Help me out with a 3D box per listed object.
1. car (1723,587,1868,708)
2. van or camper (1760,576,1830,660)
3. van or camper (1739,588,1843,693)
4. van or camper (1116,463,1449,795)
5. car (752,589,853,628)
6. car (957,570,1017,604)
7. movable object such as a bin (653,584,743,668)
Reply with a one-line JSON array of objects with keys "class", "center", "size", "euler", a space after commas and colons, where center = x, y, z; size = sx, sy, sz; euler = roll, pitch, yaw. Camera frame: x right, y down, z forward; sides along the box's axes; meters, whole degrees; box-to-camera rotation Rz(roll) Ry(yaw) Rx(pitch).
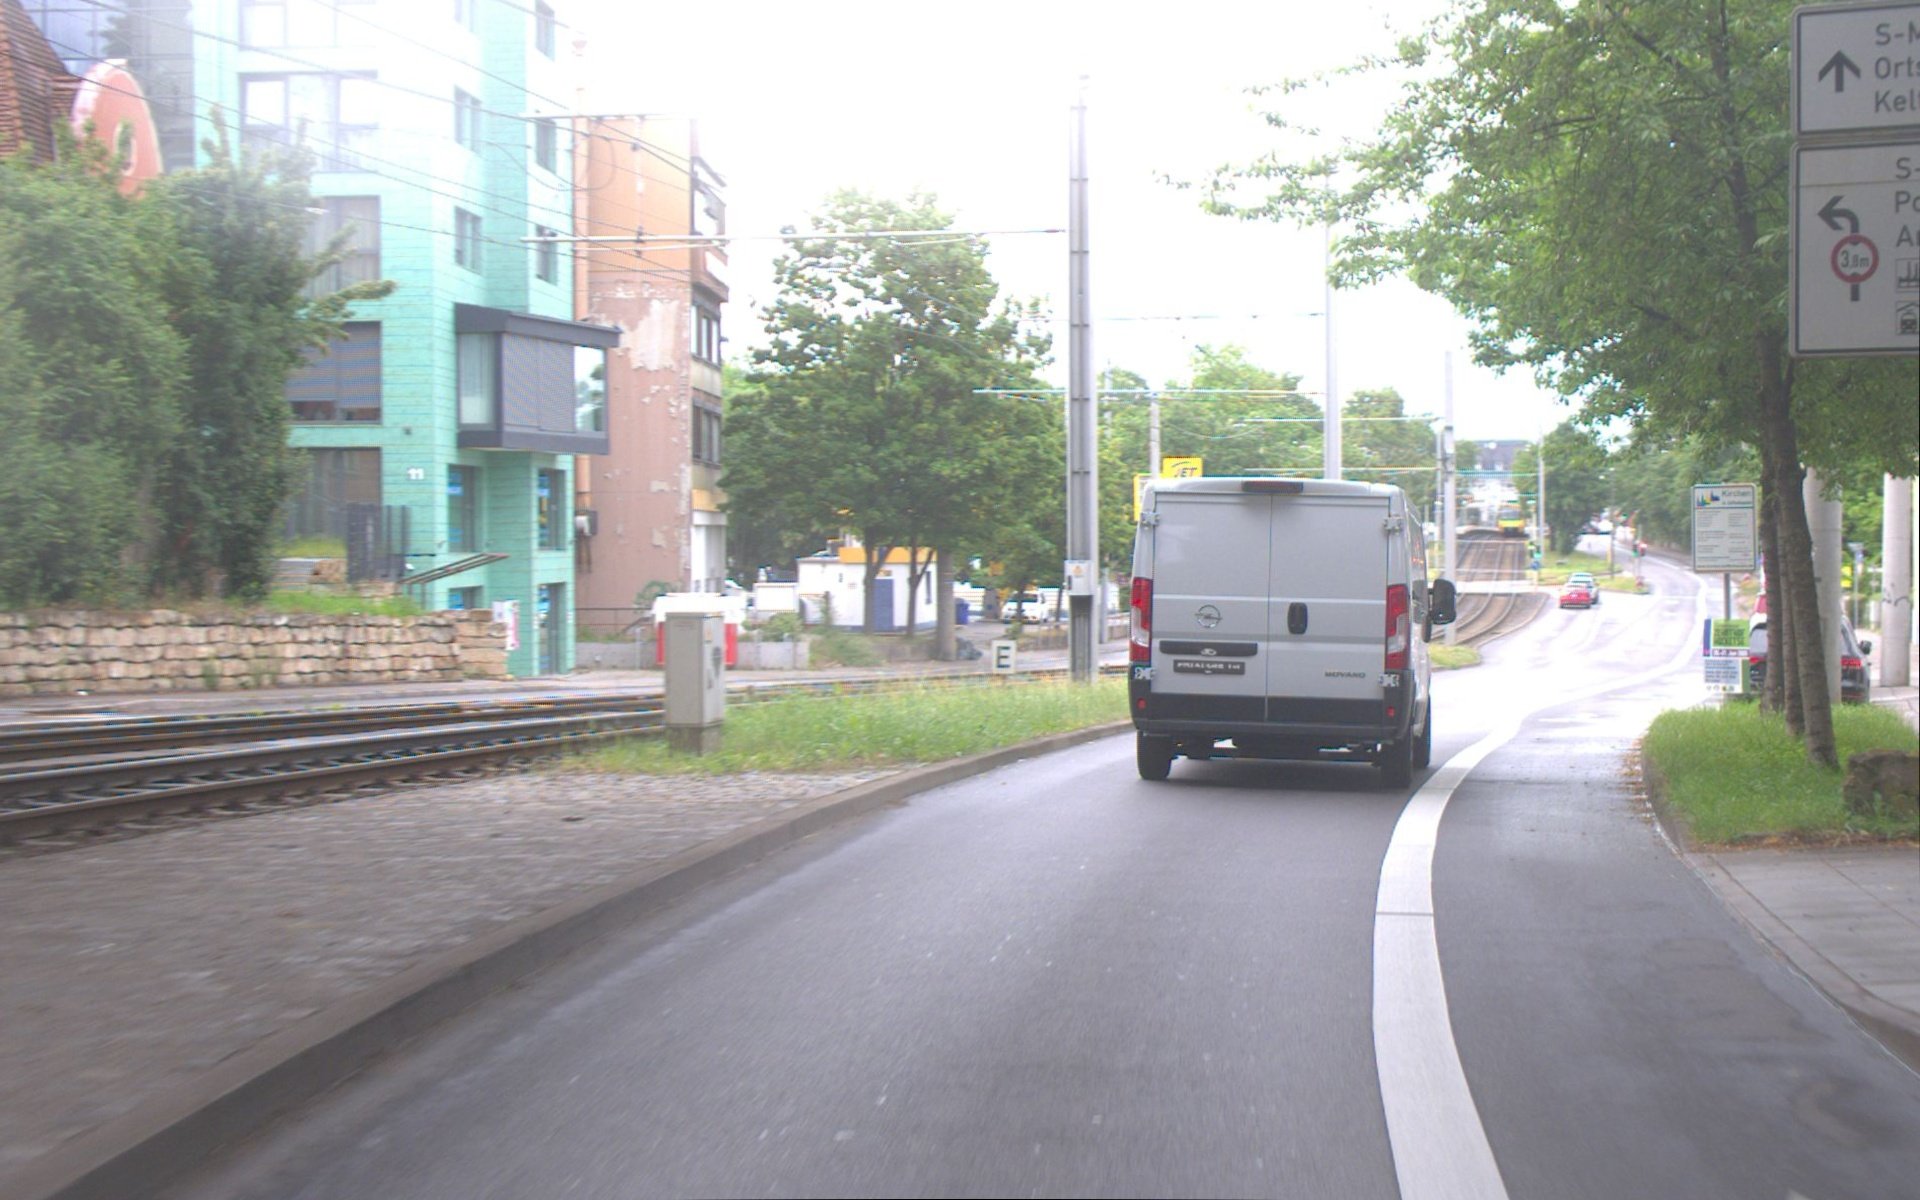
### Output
[{"class": "car", "center": [10.736, 0.599, 44.142], "size": [1.678, 1.418, 4.562], "euler": [1, 0, 14]}, {"class": "van or camper", "center": [27.232, 0.551, 112.239], "size": [1.995, 2.554, 6.039], "euler": [2, 1, 12]}, {"class": "van or camper", "center": [15.800, 0.765, 65.484], "size": [1.852, 1.914, 4.991], "euler": [0, 0, 13]}, {"class": "van or camper", "center": [2.593, 0.211, 26.508], "size": [2.200, 2.245, 4.682], "euler": [2, 0, 9]}, {"class": "car", "center": [-6.247, 0.346, 136.431], "size": [3.763, 1.448, 1.552], "euler": [1, 1, -13]}, {"class": "car", "center": [1.210, -0.571, 154.218], "size": [1.994, 1.437, 3.998], "euler": [2, 0, 10]}, {"class": "movable object such as a bin", "center": [-7.166, 0.691, 94.088], "size": [2.134, 2.149, 1.802], "euler": [2, 1, 4]}]
